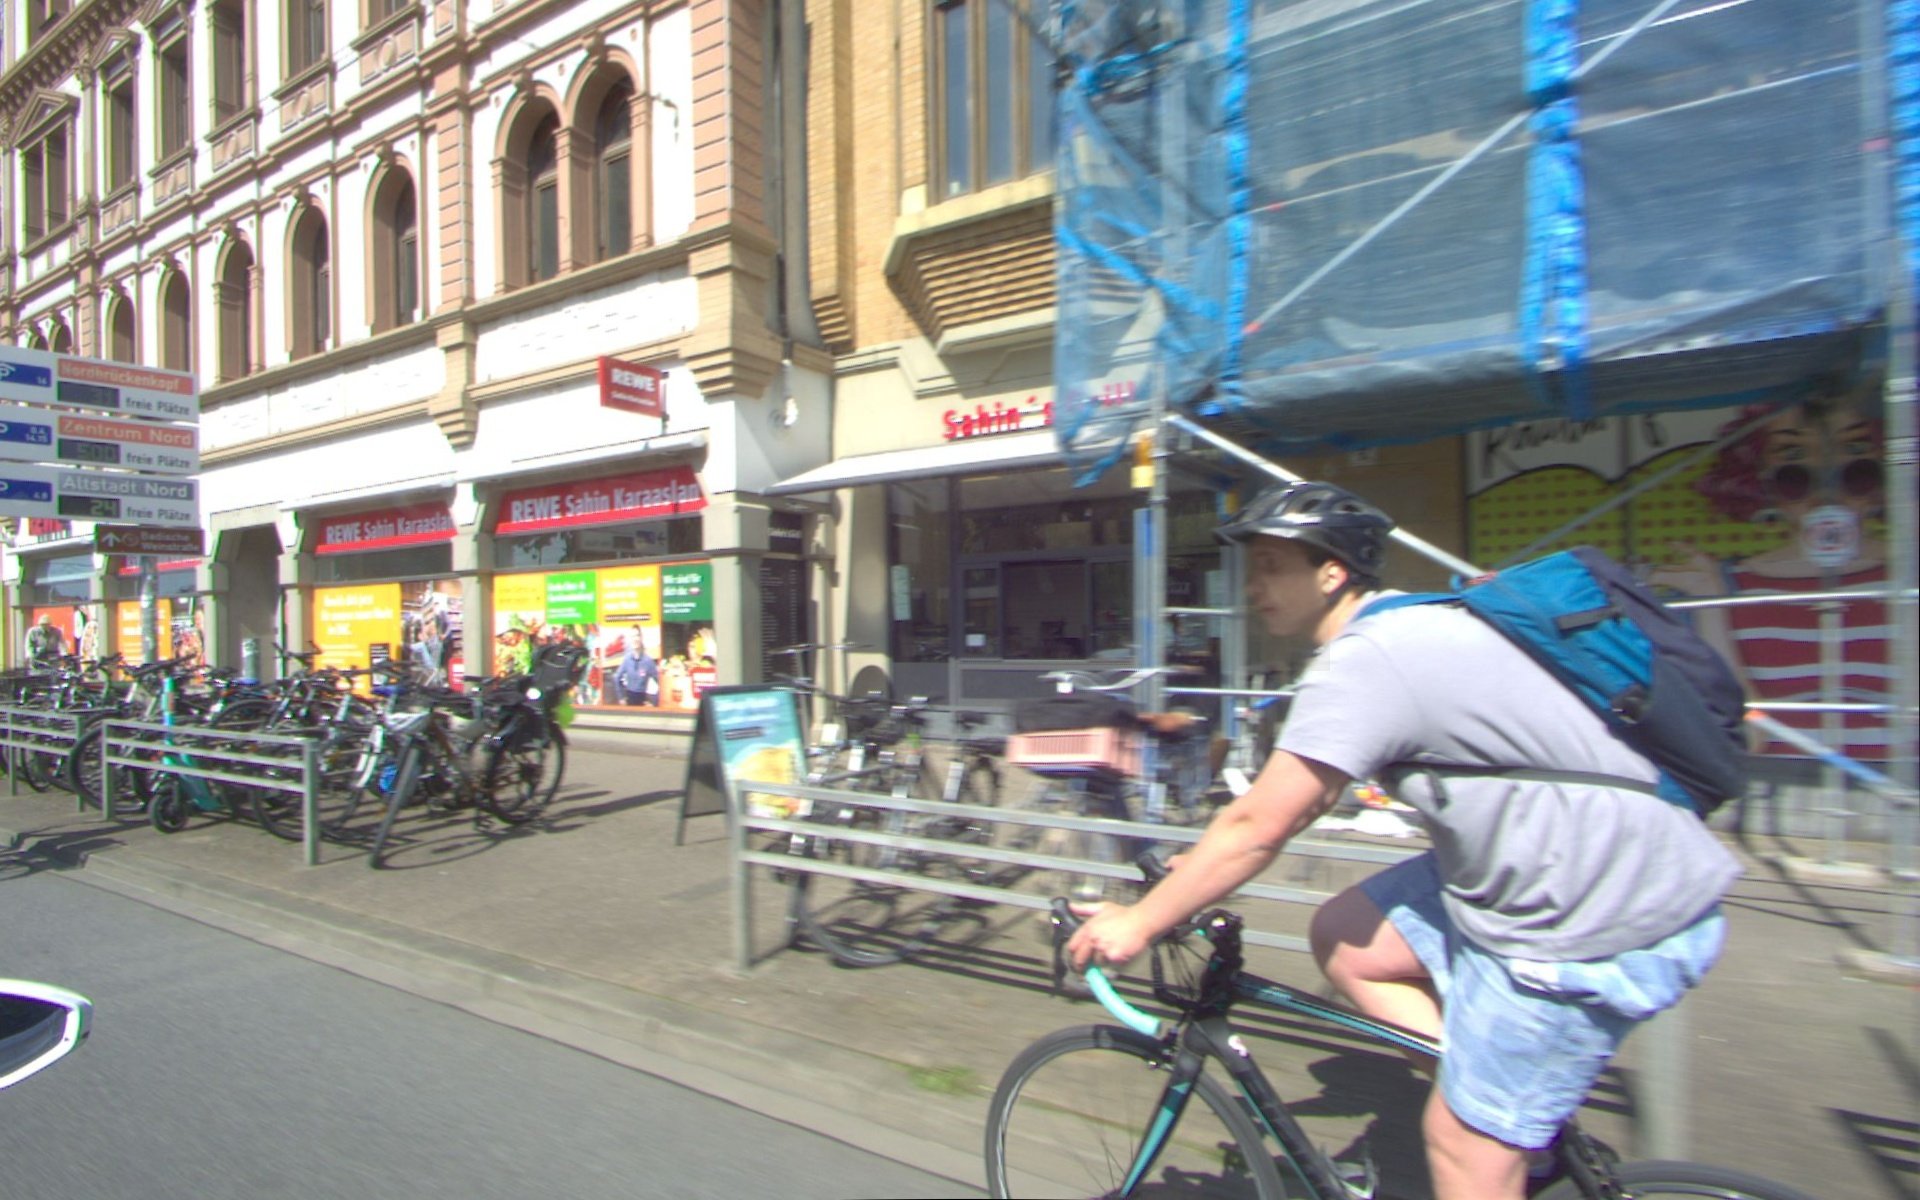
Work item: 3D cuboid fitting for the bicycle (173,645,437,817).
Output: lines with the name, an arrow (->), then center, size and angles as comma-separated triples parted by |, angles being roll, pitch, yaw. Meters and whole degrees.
bicycle -> -5.057, 0.956, 7.850 | 0.457, 1.193, 1.690 | -2, -3, 33

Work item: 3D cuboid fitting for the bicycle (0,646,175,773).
bicycle -> -9.314, 1.105, 10.423 | 0.600, 1.194, 1.690 | -1, -1, 33

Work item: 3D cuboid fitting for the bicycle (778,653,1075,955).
bicycle -> -0.086, 0.863, 4.894 | 0.600, 1.193, 1.690 | -2, -3, 33

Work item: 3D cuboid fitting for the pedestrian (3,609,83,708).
pedestrian -> -16.293, 1.027, 17.796 | 0.825, 1.678, 0.754 | -2, 2, 32

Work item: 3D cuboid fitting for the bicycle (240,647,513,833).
bicycle -> -4.192, 0.944, 7.327 | 0.484, 1.193, 1.690 | -2, -3, 33

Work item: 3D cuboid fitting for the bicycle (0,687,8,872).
bicycle -> -6.751, 1.091, 6.213 | 1.883, 1.106, 0.733 | -2, -3, 31

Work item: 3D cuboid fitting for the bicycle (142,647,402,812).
bicycle -> -5.494, 0.980, 8.112 | 0.451, 1.193, 1.690 | -2, -3, 33

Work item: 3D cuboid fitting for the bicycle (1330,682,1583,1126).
bicycle -> 1.815, 0.872, 3.524 | 0.600, 1.100, 1.690 | -2, -3, 33

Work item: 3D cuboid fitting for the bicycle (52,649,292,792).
bicycle -> -7.240, 1.056, 9.296 | 0.463, 1.193, 1.690 | -2, -3, 32

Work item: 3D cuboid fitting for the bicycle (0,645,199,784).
bicycle -> -8.801, 1.100, 10.069 | 0.600, 1.194, 1.689 | -1, 1, 33

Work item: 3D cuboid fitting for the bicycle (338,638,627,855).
bicycle -> -3.113, 0.889, 6.697 | 0.600, 1.256, 1.690 | -2, -3, 33

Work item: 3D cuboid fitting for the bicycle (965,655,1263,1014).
bicycle -> 0.747, 0.846, 4.317 | 0.600, 1.193, 1.768 | -2, -3, 33

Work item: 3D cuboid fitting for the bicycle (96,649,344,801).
bicycle -> -6.383, 1.027, 8.740 | 0.453, 1.193, 1.690 | -2, -3, 33

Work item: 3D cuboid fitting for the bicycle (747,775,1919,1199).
bicycle -> 0.662, 0.961, 1.746 | 2.100, 1.106, 0.733 | -2, -3, 31

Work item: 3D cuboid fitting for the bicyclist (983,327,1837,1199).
bicyclist -> 0.695, 0.452, 1.744 | 1.126, 1.481, 0.687 | -2, -3, 31

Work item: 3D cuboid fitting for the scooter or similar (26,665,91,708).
scooter or similar -> -15.764, 1.506, 17.515 | 0.557, 0.659, 0.689 | -2, 2, 31

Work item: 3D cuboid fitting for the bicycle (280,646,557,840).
bicycle -> -3.726, 0.924, 7.038 | 0.490, 1.193, 1.690 | -2, -3, 33

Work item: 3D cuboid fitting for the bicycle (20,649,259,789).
bicycle -> -7.707, 1.067, 9.493 | 0.463, 1.193, 1.690 | -2, -3, 32

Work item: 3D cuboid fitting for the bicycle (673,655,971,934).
bicycle -> -0.646, 0.898, 5.252 | 0.600, 1.193, 1.690 | -2, -3, 33

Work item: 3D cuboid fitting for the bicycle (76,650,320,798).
bicycle -> -6.803, 1.056, 9.038 | 0.453, 1.193, 1.690 | -2, -3, 33

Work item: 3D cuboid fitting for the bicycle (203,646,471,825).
bicycle -> -4.635, 0.952, 7.578 | 0.445, 1.193, 1.690 | -2, -3, 33

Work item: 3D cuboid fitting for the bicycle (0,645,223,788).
bicycle -> -8.265, 1.070, 9.710 | 0.600, 1.194, 1.689 | -1, 0, 33

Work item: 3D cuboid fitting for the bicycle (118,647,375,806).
bicycle -> -5.931, 1.002, 8.432 | 0.507, 1.193, 1.690 | -2, -3, 33
